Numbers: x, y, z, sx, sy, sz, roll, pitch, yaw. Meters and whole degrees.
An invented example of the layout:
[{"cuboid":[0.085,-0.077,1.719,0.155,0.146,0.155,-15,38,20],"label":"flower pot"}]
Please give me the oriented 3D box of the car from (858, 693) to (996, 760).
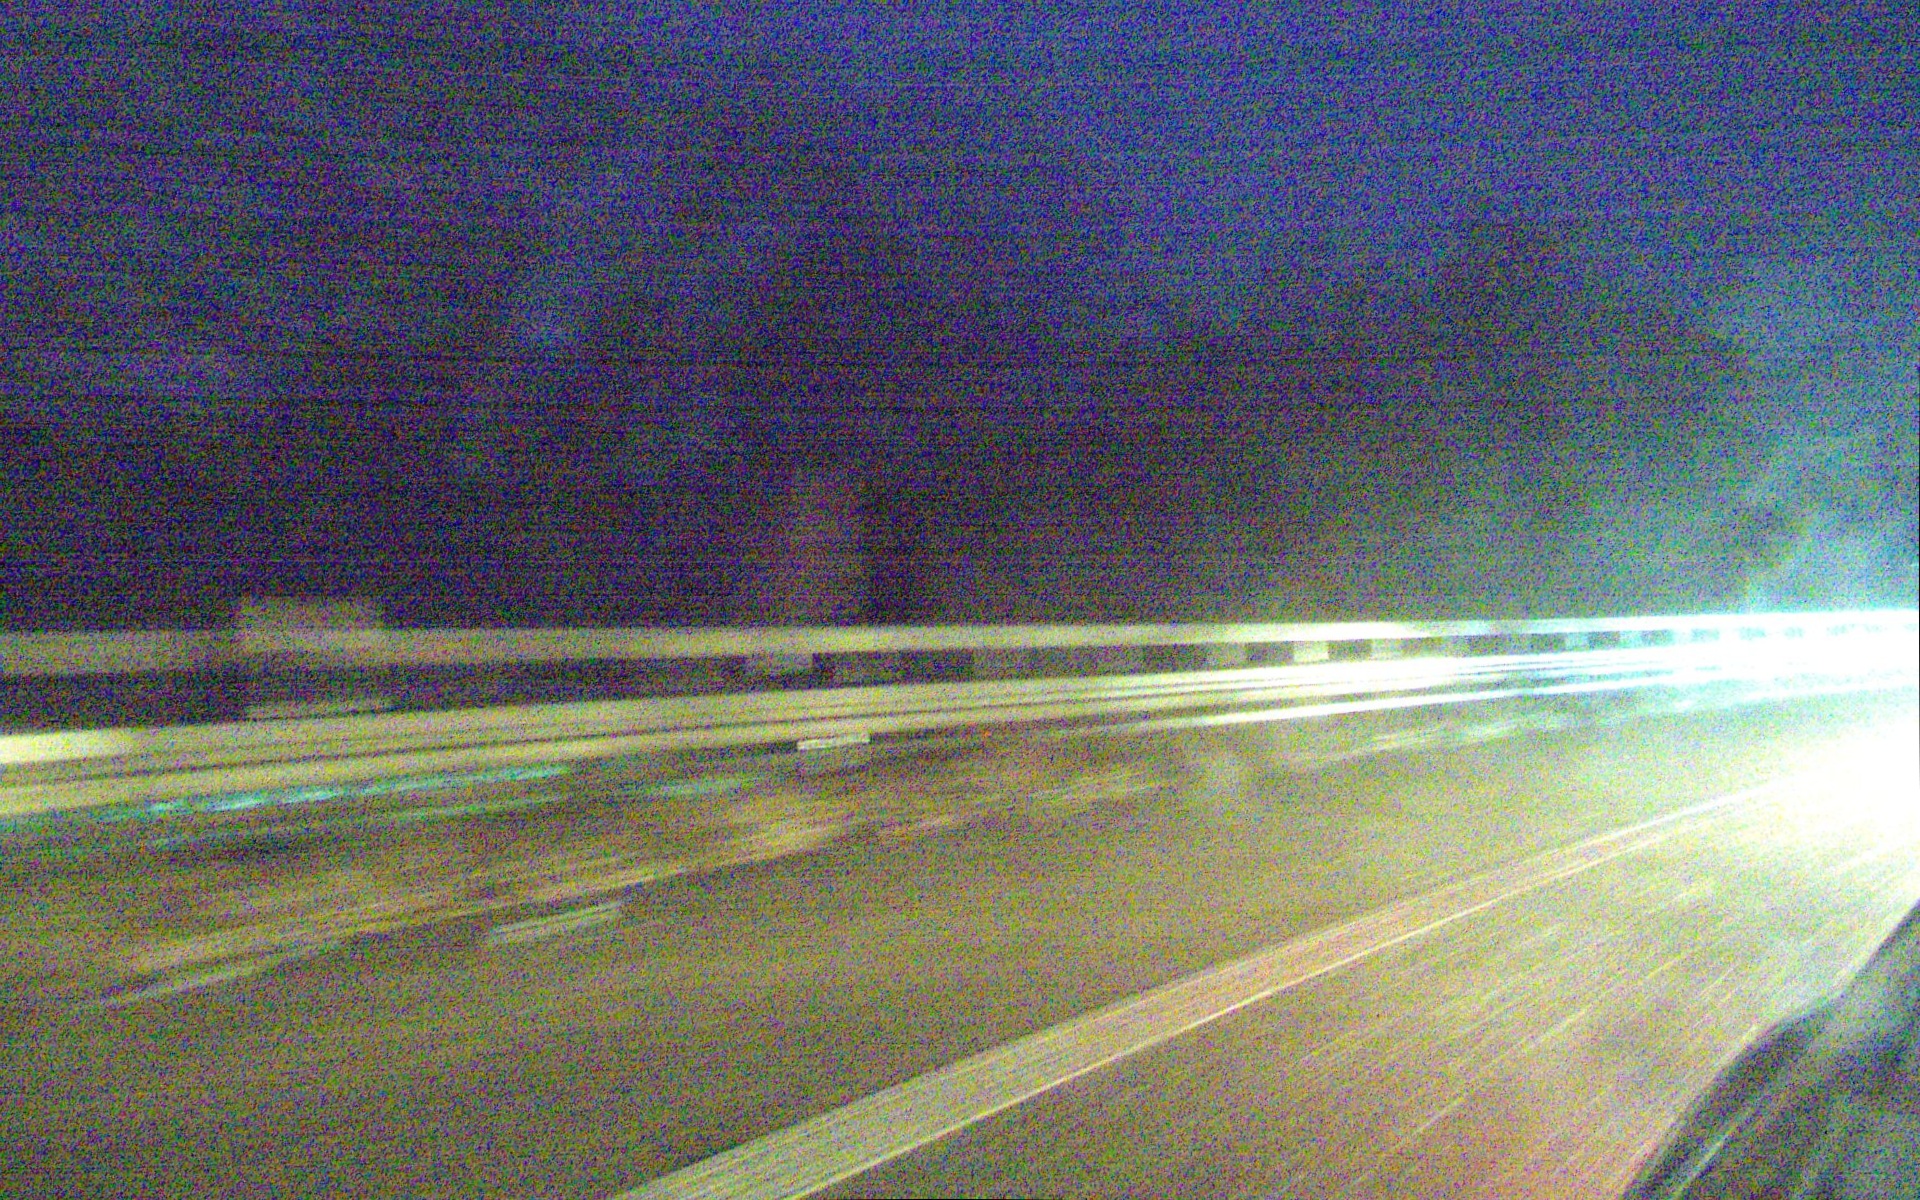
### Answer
[{"cuboid":[-0.957,3.876,31.208,4.046,1.706,1.740,-3,-3,3],"label":"car"}]
